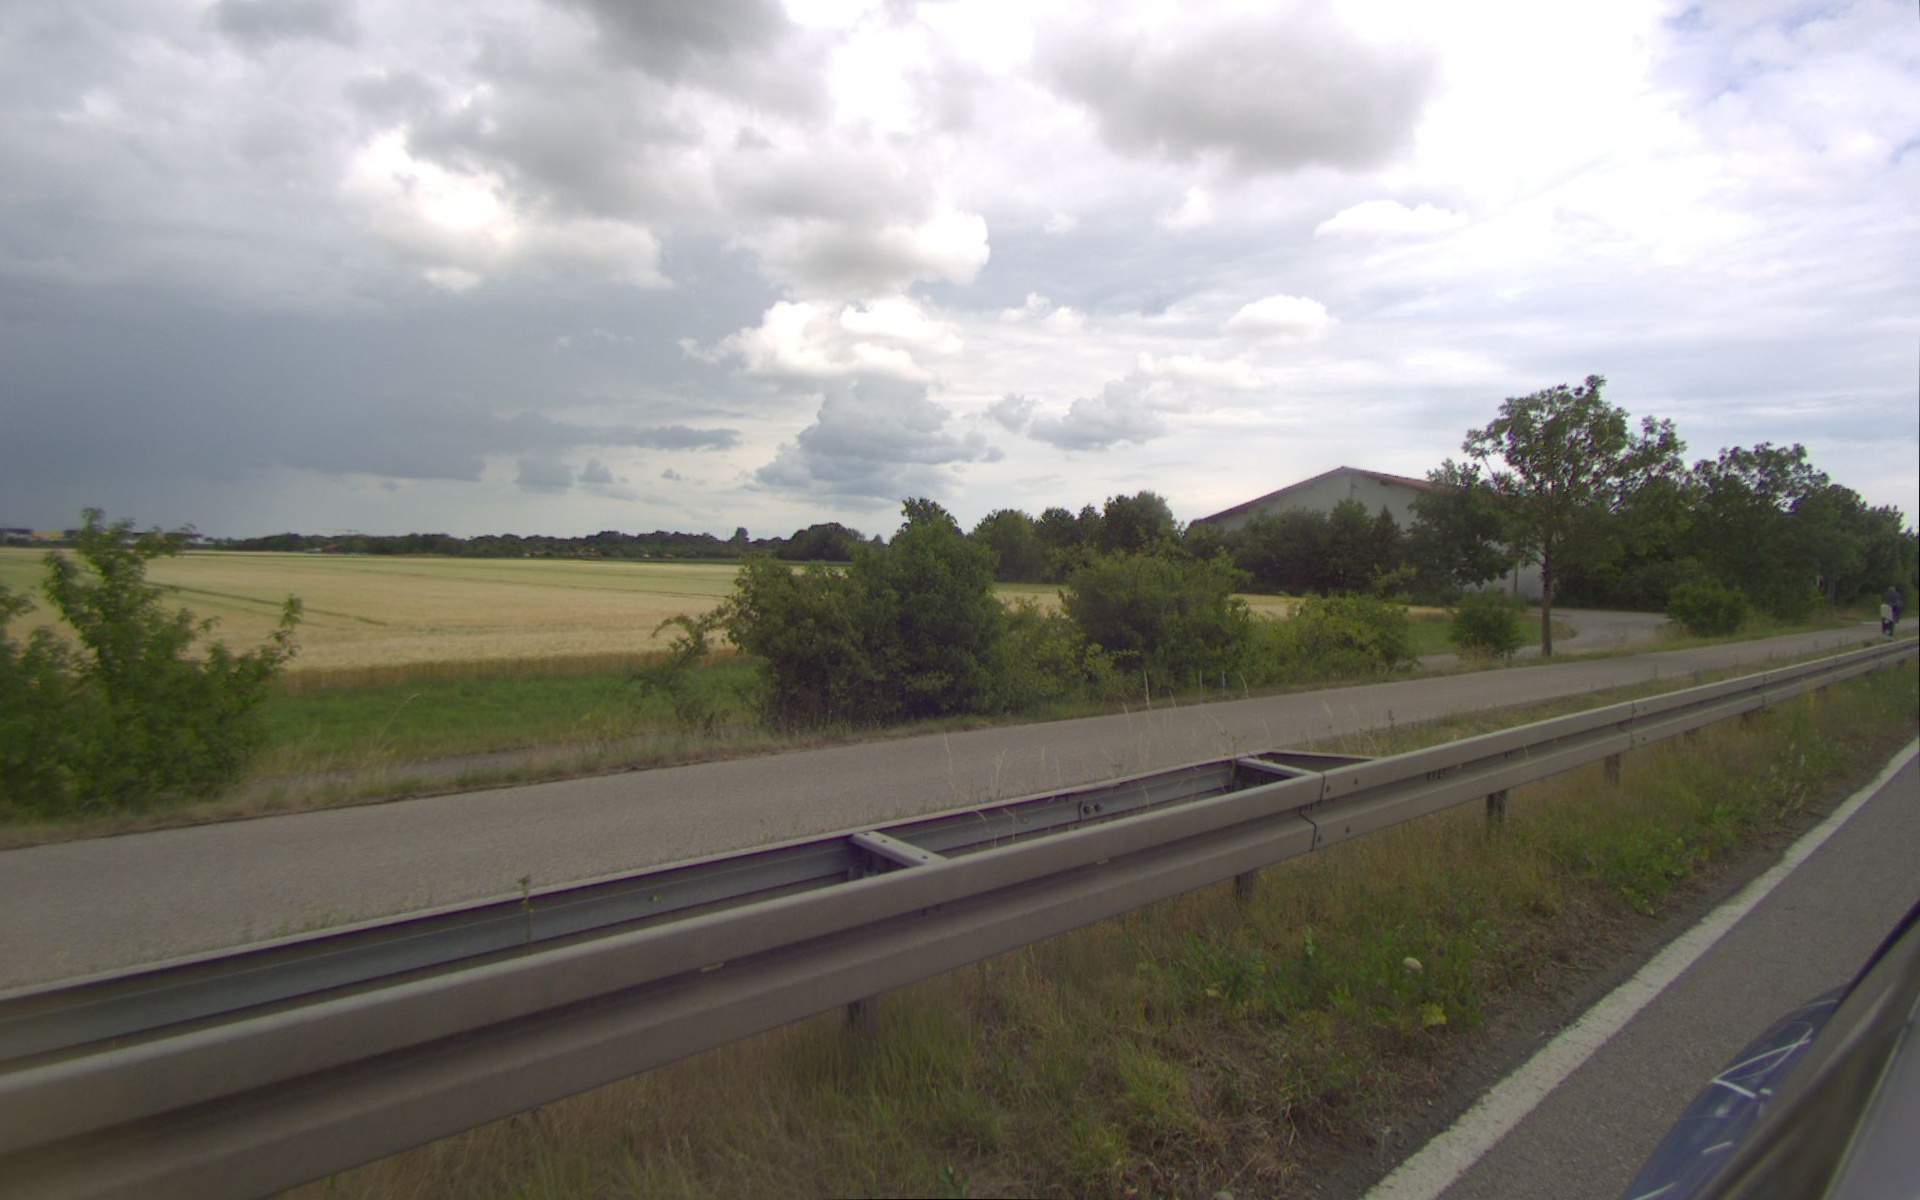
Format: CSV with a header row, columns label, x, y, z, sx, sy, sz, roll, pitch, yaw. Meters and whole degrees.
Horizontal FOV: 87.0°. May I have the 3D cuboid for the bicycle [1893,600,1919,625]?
label,x,y,z,sx,sy,sz,roll,pitch,yaw
bicycle,39.233,0.515,41.925,2.037,0.990,0.640,-1,2,-41

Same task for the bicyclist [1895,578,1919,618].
label,x,y,z,sx,sy,sz,roll,pitch,yaw
bicyclist,39.229,-0.096,41.900,0.952,1.602,0.640,0,1,-41
